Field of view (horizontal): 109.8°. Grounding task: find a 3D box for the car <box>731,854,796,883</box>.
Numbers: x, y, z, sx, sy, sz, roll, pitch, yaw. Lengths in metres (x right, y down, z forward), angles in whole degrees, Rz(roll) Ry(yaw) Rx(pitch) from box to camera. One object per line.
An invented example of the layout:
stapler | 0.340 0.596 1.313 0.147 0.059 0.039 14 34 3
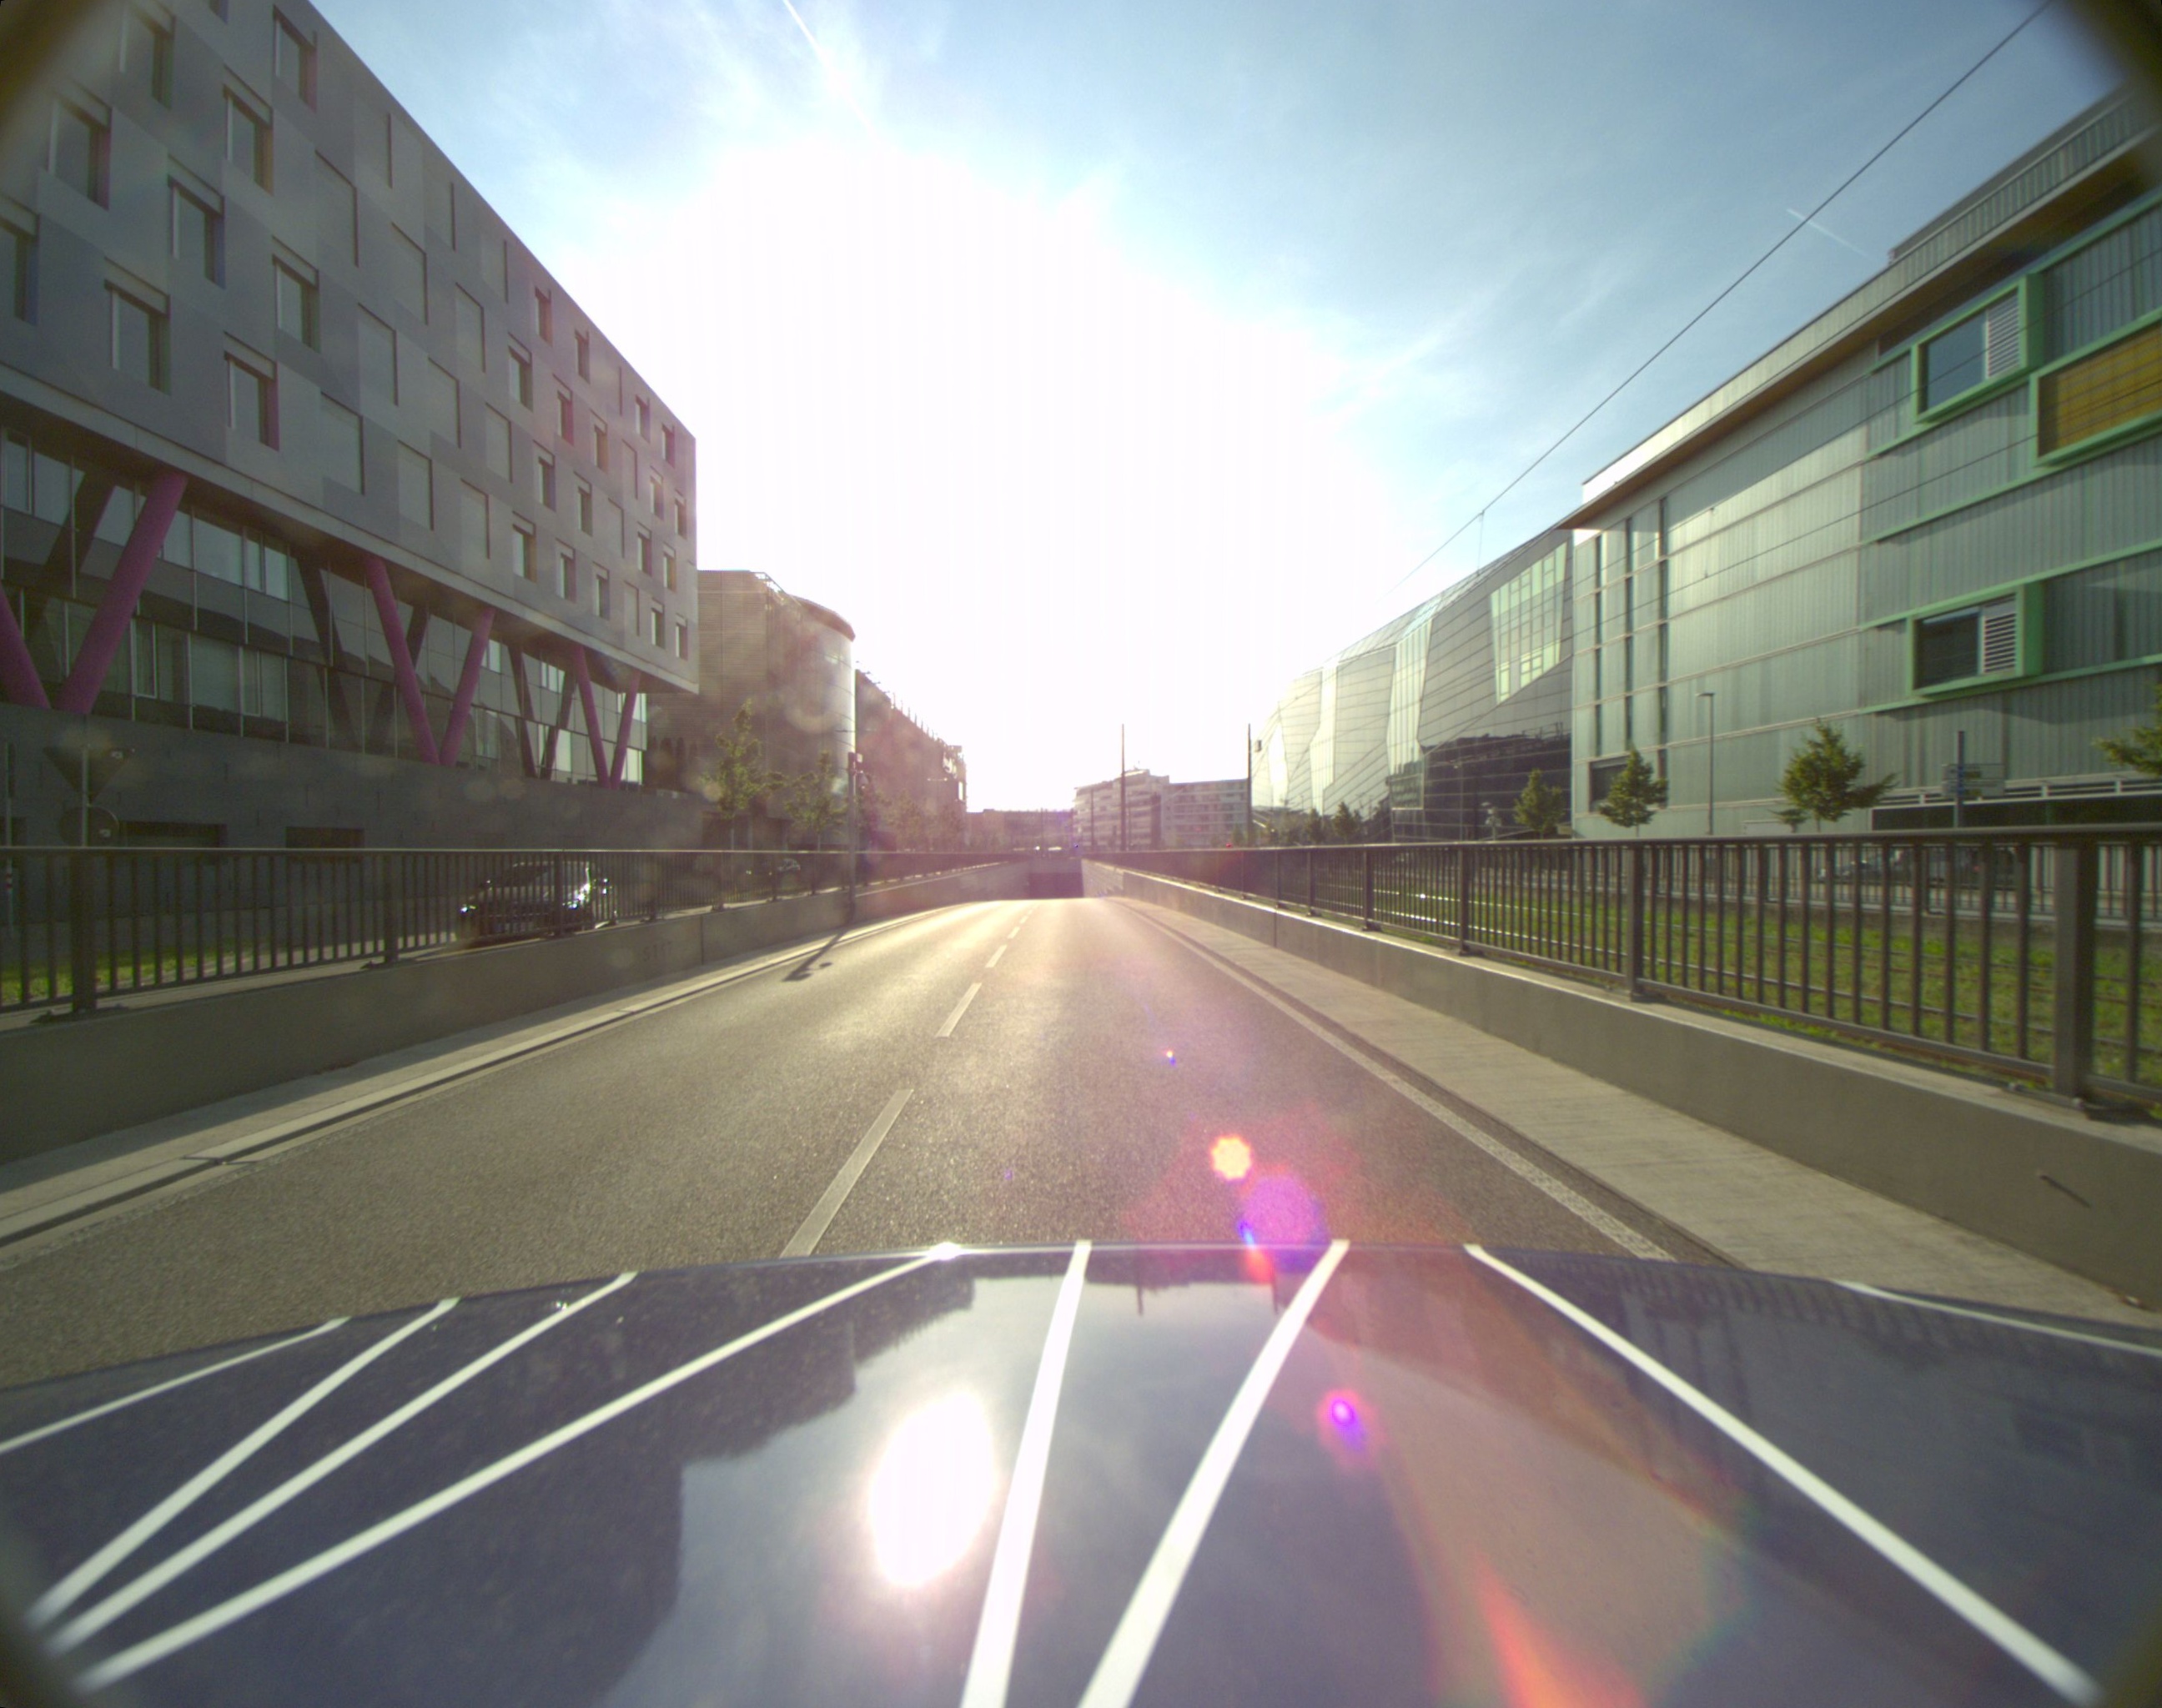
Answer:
car | -18.119 0.792 43.613 1.895 1.418 4.471 -1 1 -2

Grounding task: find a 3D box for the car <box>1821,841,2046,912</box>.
car | 23.137 0.554 20.877 1.746 1.739 3.934 -1 0 -1

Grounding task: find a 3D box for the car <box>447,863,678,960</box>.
car | -9.494 0.942 14.455 1.845 1.441 4.551 -2 0 -10
